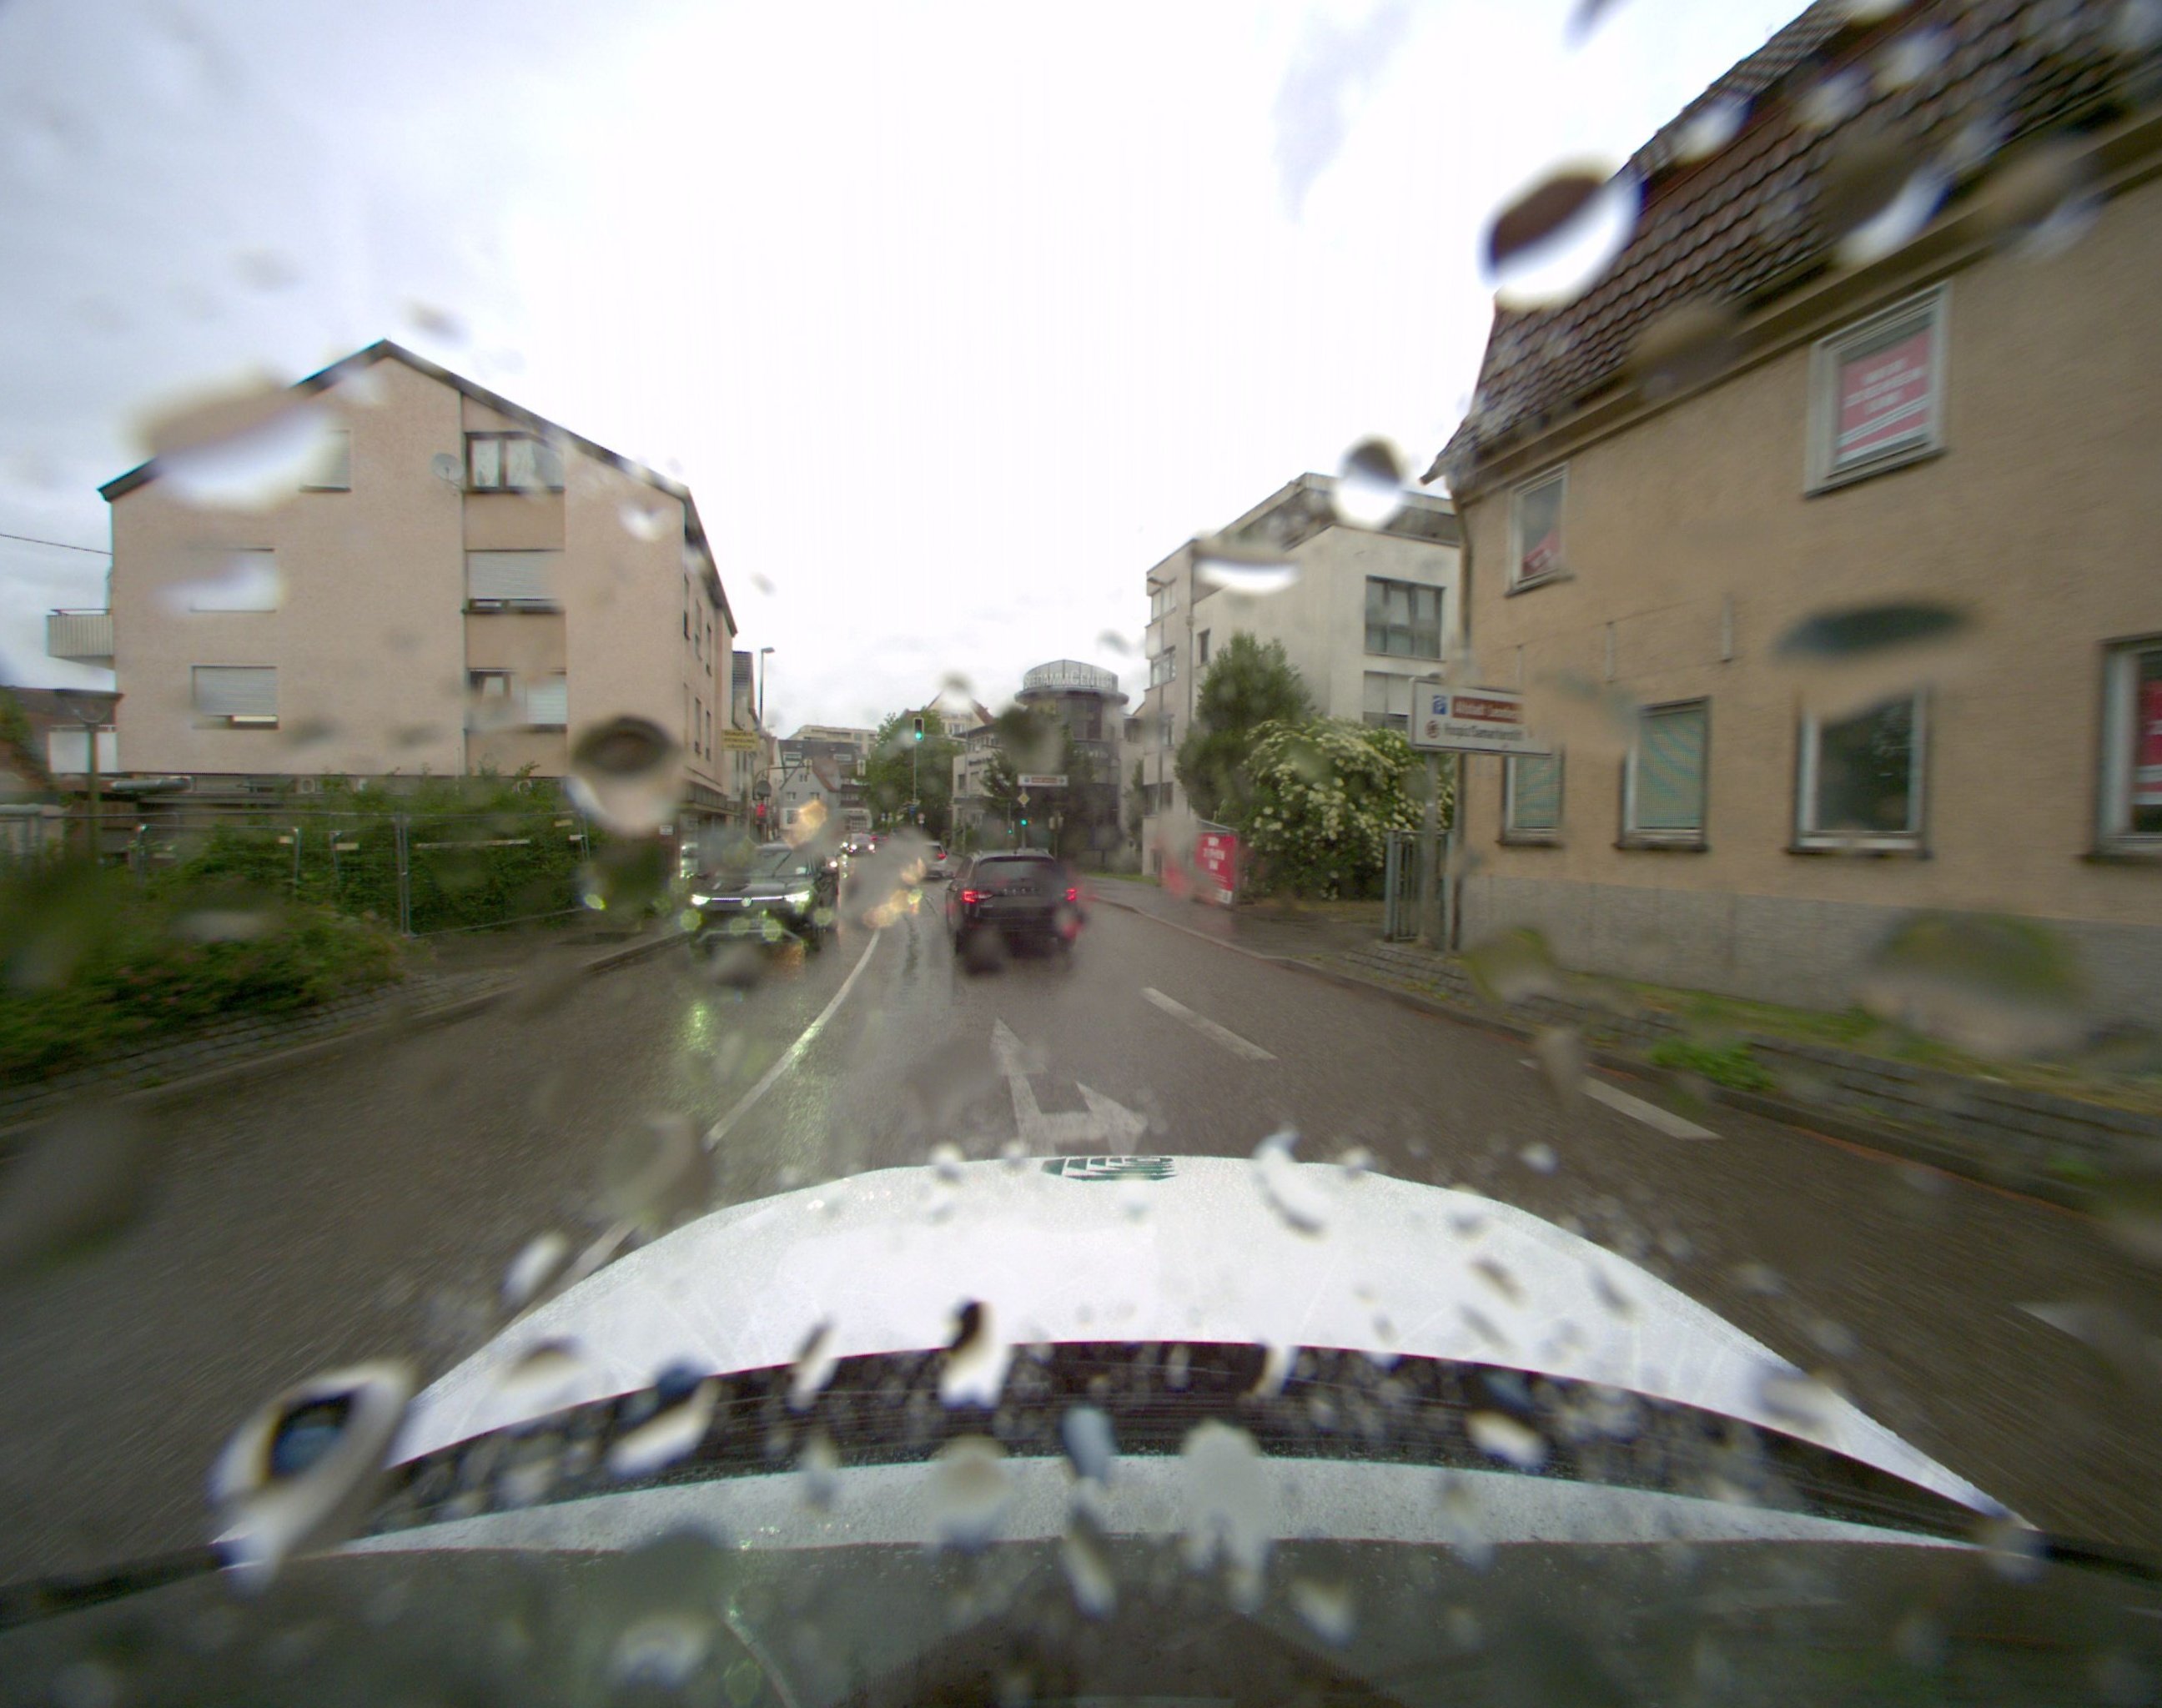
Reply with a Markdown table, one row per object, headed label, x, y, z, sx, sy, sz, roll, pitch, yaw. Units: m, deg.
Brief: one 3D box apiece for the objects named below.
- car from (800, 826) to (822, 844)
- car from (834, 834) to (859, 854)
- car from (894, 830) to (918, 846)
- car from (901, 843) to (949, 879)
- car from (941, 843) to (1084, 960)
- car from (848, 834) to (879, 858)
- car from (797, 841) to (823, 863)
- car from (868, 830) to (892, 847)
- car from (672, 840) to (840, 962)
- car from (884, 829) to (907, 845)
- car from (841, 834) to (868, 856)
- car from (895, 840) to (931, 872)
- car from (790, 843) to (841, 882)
| label | x | y | z | sx | sy | sz | roll | pitch | yaw |
| --- | --- | --- | --- | --- | --- | --- | --- | --- | --- |
| car | -25.026 | -1.789 | 75.462 | 1.790 | 1.560 | 4.309 | -1 | 2 | -20 |
| car | -20.372 | -0.860 | 70.767 | 1.790 | 1.562 | 4.374 | 1 | 2 | -20 |
| car | -18.167 | -1.697 | 84.481 | 1.859 | 1.641 | 3.513 | -1 | 2 | -21 |
| car | -6.479 | 0.252 | 33.550 | 1.820 | 1.359 | 3.973 | 0 | 1 | -13 |
| car | -1.282 | 0.618 | 13.296 | 1.783 | 1.483 | 4.229 | -2 | 2 | -12 |
| car | -15.816 | -0.578 | 59.025 | 1.790 | 1.562 | 4.374 | 1 | 2 | -20 |
| car | -19.319 | -0.185 | 58.011 | 1.695 | 1.372 | 4.088 | -1 | 2 | -18 |
| car | -19.486 | -1.480 | 78.735 | 1.899 | 1.590 | 3.664 | -1 | 1 | -20 |
| car | -5.137 | 0.624 | 13.496 | 1.896 | 1.595 | 4.336 | -2 | 1 | -13 |
| car | -20.556 | -1.921 | 90.198 | 1.859 | 1.641 | 3.844 | -1 | 2 | -21 |
| car | -18.000 | -0.747 | 64.576 | 1.790 | 1.562 | 4.374 | 1 | 2 | -20 |
| car | -9.865 | 0.054 | 47.567 | 1.731 | 1.590 | 4.163 | 1 | 3 | -16 |
| car | -10.491 | 0.297 | 32.027 | 1.776 | 1.402 | 3.893 | -1 | 1 | -20 |
